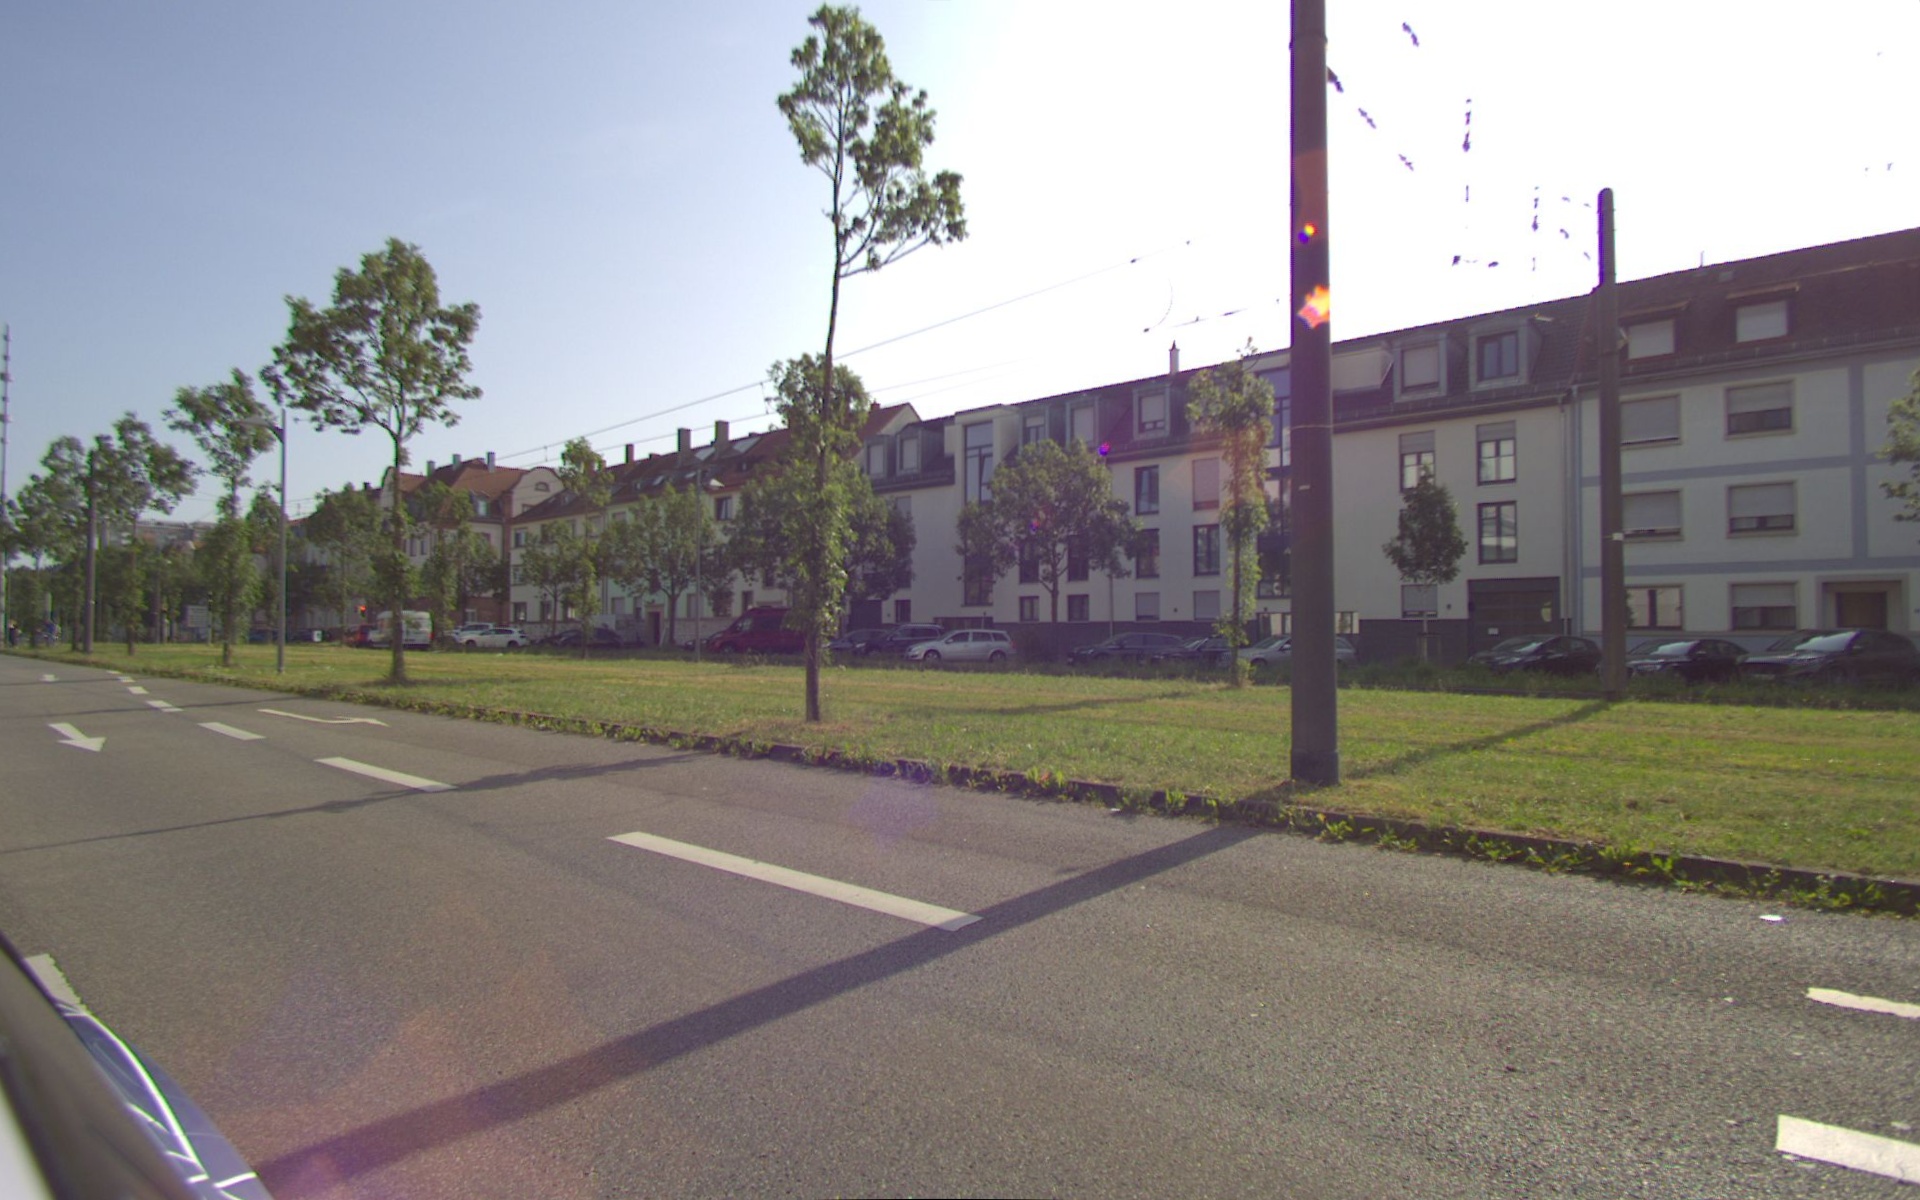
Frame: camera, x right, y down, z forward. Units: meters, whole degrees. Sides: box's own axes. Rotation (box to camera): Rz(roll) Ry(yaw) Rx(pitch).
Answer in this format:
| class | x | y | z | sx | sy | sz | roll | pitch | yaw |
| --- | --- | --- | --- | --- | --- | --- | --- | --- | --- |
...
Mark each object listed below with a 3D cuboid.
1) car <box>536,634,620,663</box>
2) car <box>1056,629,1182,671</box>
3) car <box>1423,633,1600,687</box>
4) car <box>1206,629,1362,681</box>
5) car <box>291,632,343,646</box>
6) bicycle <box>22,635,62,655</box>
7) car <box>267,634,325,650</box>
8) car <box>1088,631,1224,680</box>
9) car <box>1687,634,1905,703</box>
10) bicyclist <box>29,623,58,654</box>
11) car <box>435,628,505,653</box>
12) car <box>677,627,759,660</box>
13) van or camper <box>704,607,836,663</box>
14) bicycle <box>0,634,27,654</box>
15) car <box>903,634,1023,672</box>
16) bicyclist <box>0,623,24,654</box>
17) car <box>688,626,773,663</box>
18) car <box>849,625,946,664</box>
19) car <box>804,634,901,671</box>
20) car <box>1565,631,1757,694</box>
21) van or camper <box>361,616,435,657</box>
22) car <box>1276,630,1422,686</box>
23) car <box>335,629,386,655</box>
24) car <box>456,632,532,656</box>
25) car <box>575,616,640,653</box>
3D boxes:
| class | x | y | z | sx | sy | sz | roll | pitch | yaw |
| --- | --- | --- | --- | --- | --- | --- | --- | --- | --- |
| car | -22.159 | 2.800 | 58.868 | 4.280 | 1.541 | 2.004 | -1 | -1 | -9 |
| car | 5.540 | 1.710 | 35.339 | 3.930 | 1.386 | 1.842 | 1 | -2 | -22 |
| car | 14.276 | 1.507 | 26.218 | 3.930 | 1.298 | 2.006 | 1 | -2 | -23 |
| car | 9.939 | 1.650 | 31.064 | 4.265 | 1.386 | 2.007 | -1 | -1 | -23 |
| car | -59.395 | 3.596 | 93.549 | 3.784 | 1.136 | 1.774 | -1 | -1 | -17 |
| bicycle | -56.854 | 2.762 | 62.672 | 1.763 | 1.154 | 0.578 | -1 | -1 | -32 |
| car | -65.791 | 4.134 | 100.286 | 4.438 | 1.451 | 2.006 | -1 | -1 | -17 |
| car | 6.405 | 1.777 | 33.139 | 3.931 | 1.386 | 1.933 | -1 | -1 | -22 |
| car | 18.485 | 1.458 | 22.398 | 3.989 | 1.298 | 2.006 | -1 | -1 | -22 |
| bicyclist | -56.874 | 2.391 | 62.819 | 1.168 | 1.864 | 0.913 | 0 | -1 | -31 |
| car | -33.492 | 2.742 | 69.278 | 4.032 | 1.541 | 1.817 | -1 | -1 | -11 |
| car | -12.505 | 2.241 | 52.517 | 4.086 | 1.520 | 1.873 | 0 | 1 | -10 |
| van or camper | -9.109 | 1.647 | 48.510 | 6.061 | 2.566 | 2.420 | 0 | -2 | -11 |
| bicycle | -55.965 | 2.589 | 59.569 | 0.568 | 1.154 | 1.754 | 0 | -2 | -3 |
| car | 0.105 | 2.042 | 39.518 | 4.325 | 1.330 | 1.739 | -1 | -1 | -16 |
| bicyclist | -56.012 | 2.258 | 59.629 | 0.894 | 1.836 | 0.872 | 0 | -2 | -5 |
| car | -11.403 | 2.197 | 50.517 | 4.086 | 1.628 | 1.873 | 0 | 1 | -10 |
| car | -2.591 | 1.808 | 41.541 | 3.658 | 1.445 | 1.646 | -1 | -1 | -16 |
| car | -4.682 | 2.257 | 43.746 | 3.933 | 1.431 | 1.786 | -1 | -1 | -14 |
| car | 16.965 | 1.462 | 24.504 | 3.930 | 1.298 | 2.007 | -1 | -1 | -23 |
| van or camper | -35.846 | 2.329 | 64.464 | 6.055 | 2.493 | 2.119 | -2 | -4 | 41 |
| car | 11.022 | 1.602 | 28.681 | 3.715 | 1.386 | 1.670 | -1 | -1 | -23 |
| car | -40.886 | 2.853 | 68.957 | 4.160 | 1.751 | 1.796 | -2 | -4 | 43 |
| car | -31.023 | 2.931 | 67.468 | 4.295 | 1.486 | 1.862 | -1 | -1 | -11 |
| car | -24.973 | 2.415 | 71.555 | 5.577 | 2.482 | 1.972 | -2 | -1 | 42 |
